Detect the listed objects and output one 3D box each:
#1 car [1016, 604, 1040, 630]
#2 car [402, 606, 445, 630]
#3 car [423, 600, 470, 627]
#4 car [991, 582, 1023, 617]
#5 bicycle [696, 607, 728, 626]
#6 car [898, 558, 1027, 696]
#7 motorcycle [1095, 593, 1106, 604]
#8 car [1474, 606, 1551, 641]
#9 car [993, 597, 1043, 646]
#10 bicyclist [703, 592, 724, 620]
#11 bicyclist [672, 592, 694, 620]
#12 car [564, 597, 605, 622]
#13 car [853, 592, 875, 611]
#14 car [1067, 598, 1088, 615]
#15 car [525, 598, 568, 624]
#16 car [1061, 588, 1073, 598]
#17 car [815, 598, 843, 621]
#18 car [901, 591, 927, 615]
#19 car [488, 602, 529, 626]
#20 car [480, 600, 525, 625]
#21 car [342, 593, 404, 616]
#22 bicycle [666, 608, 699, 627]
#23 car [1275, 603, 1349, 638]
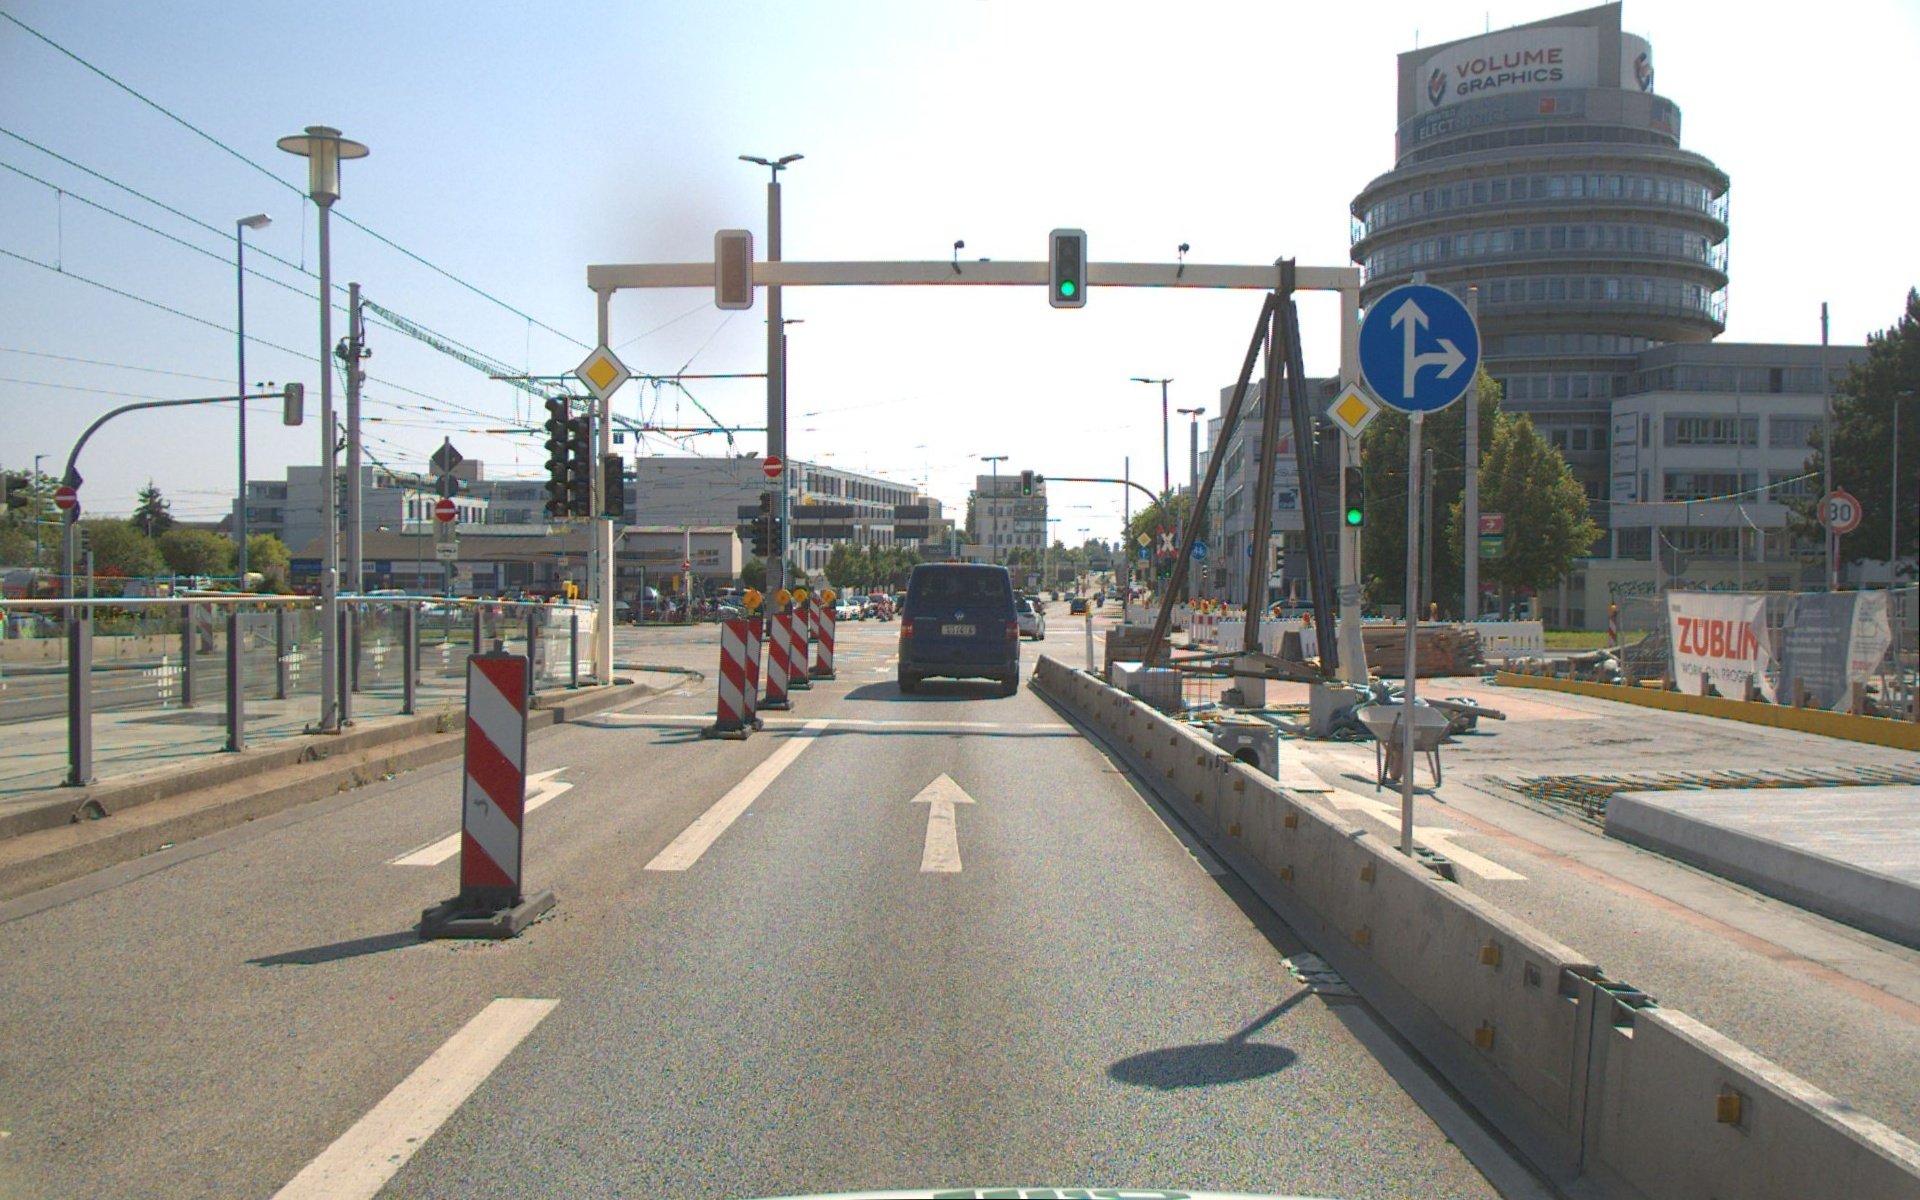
[{"bbox_3d":[4.956,1.229,121.106,1.611,1.758,3.718,2,1,1],"label":"car"},{"bbox_3d":[-38.416,1.294,118.588,1.741,1.565,4.000,-2,0,0],"label":"car"},{"bbox_3d":[-32.750,0.845,105.517,1.741,1.565,4.000,-2,0,0],"label":"car"},{"bbox_3d":[2.503,-0.043,87.997,1.611,1.758,4.001,2,1,1],"label":"car"},{"bbox_3d":[-15.137,1.034,101.059,0.863,1.088,2.809,4,0,13],"label":"bicycle"},{"bbox_3d":[0.100,0.357,26.333,1.849,1.967,4.001,2,1,2],"label":"car"},{"bbox_3d":[16.224,-0.166,191.290,1.137,1.264,3.010,1,0,6],"label":"motorcycle"},{"bbox_3d":[31.167,1.315,93.292,3.736,1.829,1.681,2,1,-1],"label":"car"},{"bbox_3d":[2.135,0.758,61.389,1.650,1.634,3.616,2,1,0],"label":"car"},{"bbox_3d":[-15.078,0.367,101.083,0.857,1.606,0.970,4,0,13],"label":"bicyclist"},{"bbox_3d":[-16.600,0.389,99.091,0.857,1.606,0.970,4,0,13],"label":"bicyclist"},{"bbox_3d":[-24.182,0.612,106.560,1.741,1.565,4.000,1,0,0],"label":"car"},{"bbox_3d":[-7.899,0.127,136.467,1.712,1.512,3.998,0,1,-3],"label":"car"},{"bbox_3d":[10.233,0.557,143.797,1.707,1.501,3.887,1,0,4],"label":"car"},{"bbox_3d":[-26.242,0.666,105.052,1.741,1.565,4.000,-2,0,0],"label":"car"},{"bbox_3d":[15.942,-1.067,246.201,1.516,1.363,3.014,1,0,-2],"label":"car"},{"bbox_3d":[-8.951,0.622,113.189,1.712,1.507,3.998,0,1,-3],"label":"car"},{"bbox_3d":[-3.104,0.167,111.403,1.712,1.557,3.998,0,0,-3],"label":"car"},{"bbox_3d":[-31.245,0.952,114.470,1.741,1.565,4.000,0,0,0],"label":"car"},{"bbox_3d":[-29.103,0.779,105.287,1.741,1.565,4.000,0,0,0],"label":"car"},{"bbox_3d":[-43.207,0.324,121.813,3.969,1.565,1.755,-2,0,-44],"label":"car"},{"bbox_3d":[-16.624,1.056,99.205,0.863,1.088,2.809,4,0,13],"label":"bicycle"},{"bbox_3d":[19.821,1.132,93.151,3.736,1.829,1.681,2,1,-1],"label":"car"}]
